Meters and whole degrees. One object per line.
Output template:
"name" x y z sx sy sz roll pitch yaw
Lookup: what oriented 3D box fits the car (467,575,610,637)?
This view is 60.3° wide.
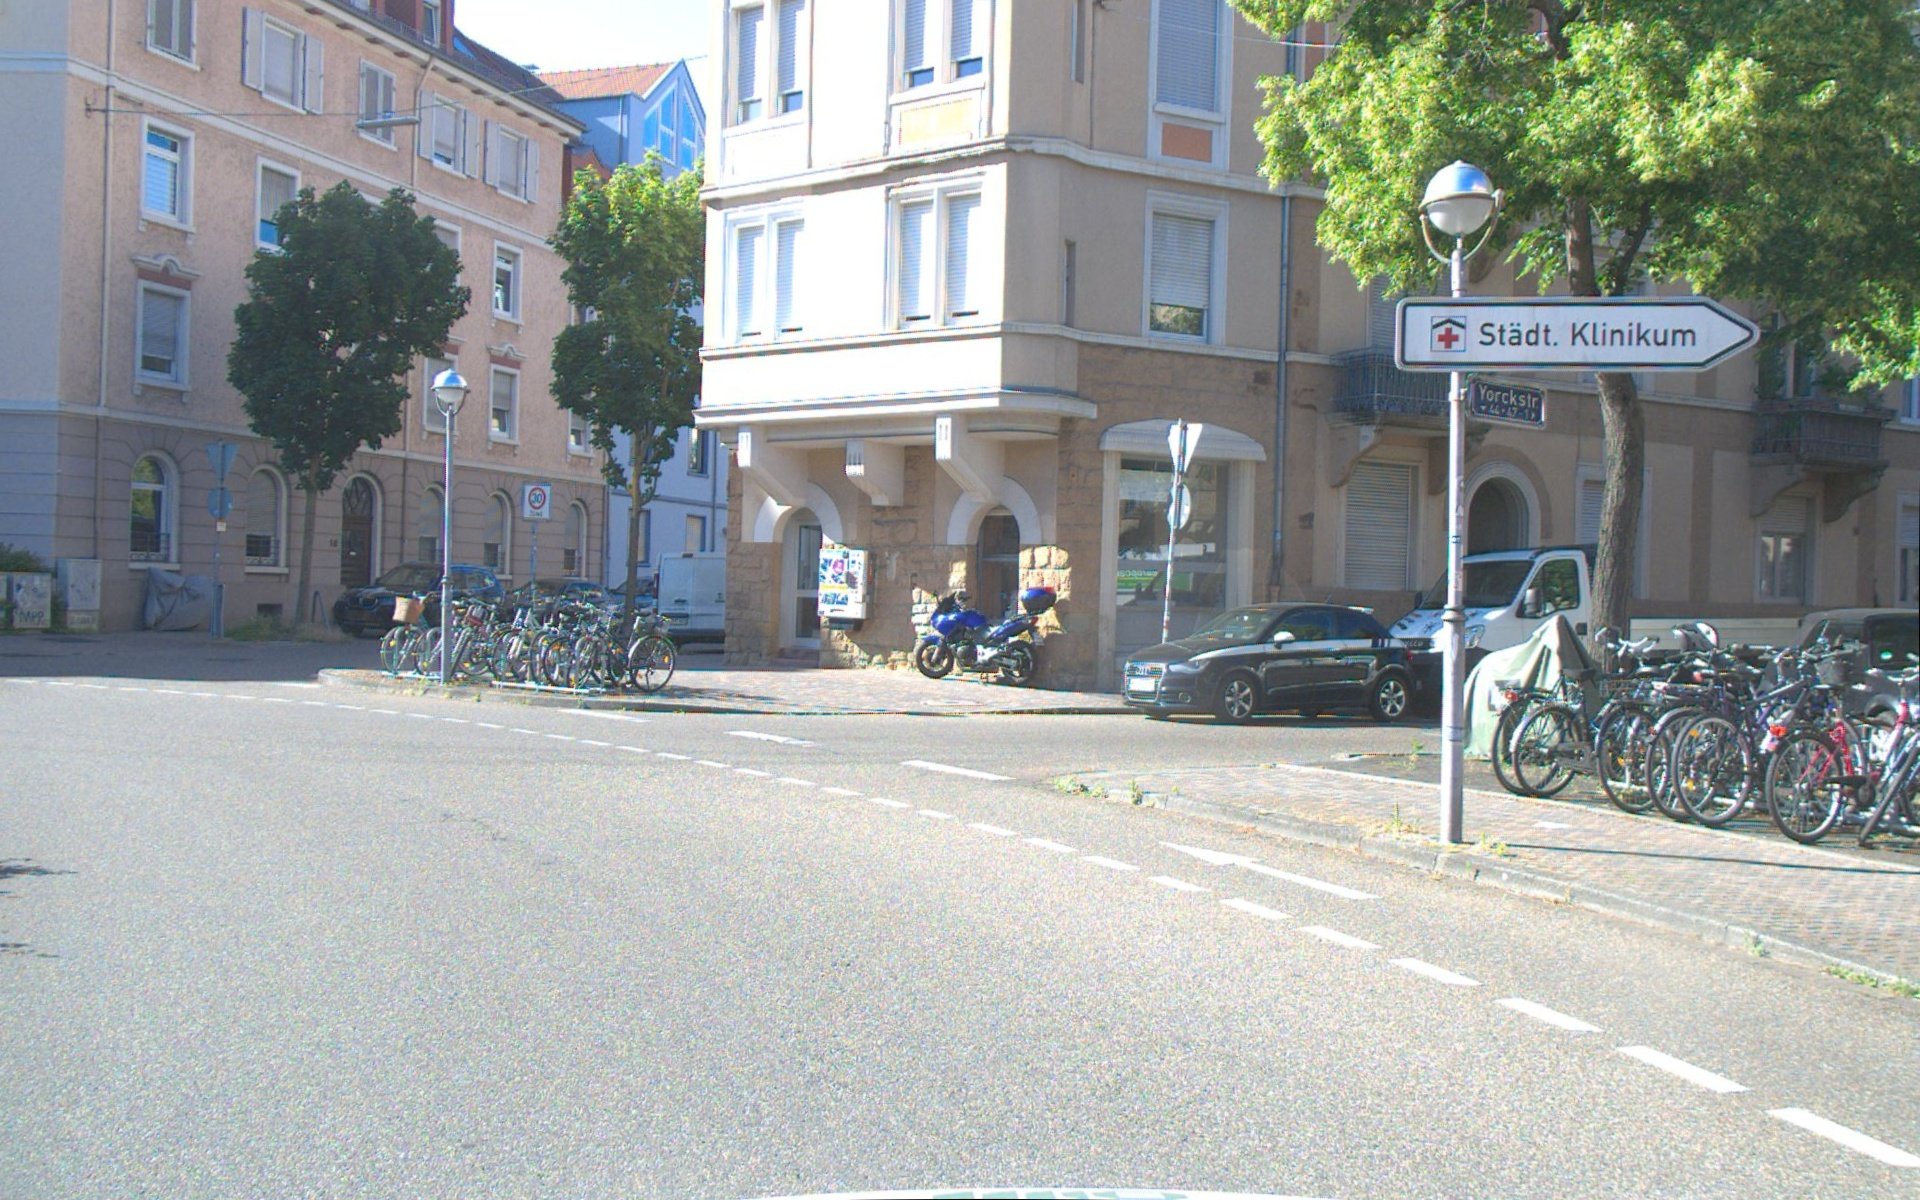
"car" -10.466 0.152 41.349 1.661 1.436 3.663 1 0 20

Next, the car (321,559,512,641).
"car" -12.006 0.012 36.854 1.863 1.670 4.349 1 0 16

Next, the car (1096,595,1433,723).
"car" 3.718 0.687 20.059 3.867 1.414 1.671 1 -1 -30

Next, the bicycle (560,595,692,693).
"bicycle" -4.083 0.525 20.324 0.474 1.143 1.712 1 0 36

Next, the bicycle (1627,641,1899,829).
"bicycle" 5.242 0.844 10.789 1.702 1.107 0.652 0 2 -25

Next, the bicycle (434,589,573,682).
"bicycle" -5.959 0.458 21.661 0.626 1.165 1.686 1 0 42

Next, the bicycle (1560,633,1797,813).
"bicycle" 4.978 0.822 11.447 1.576 1.146 0.585 0 2 -25

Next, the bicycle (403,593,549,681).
"bicycle" -6.428 0.483 22.064 0.526 1.109 1.868 1 0 42

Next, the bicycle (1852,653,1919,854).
"bicycle" 6.044 0.881 9.827 1.547 1.108 0.416 1 2 -23

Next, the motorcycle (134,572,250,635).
"motorcycle" -16.073 0.070 34.677 0.920 1.241 2.154 3 1 20

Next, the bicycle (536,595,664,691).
"bicycle" -4.455 0.516 20.568 0.473 1.143 1.691 1 0 34

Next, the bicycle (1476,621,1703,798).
"bicycle" 4.631 0.772 12.145 1.653 1.213 0.534 0 2 -25

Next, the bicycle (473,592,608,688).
"bicycle" -5.318 0.489 21.065 0.604 1.165 1.691 1 0 34

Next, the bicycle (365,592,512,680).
"bicycle" -7.059 0.486 22.451 0.685 1.149 1.860 0 -1 36

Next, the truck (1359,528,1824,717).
"truck" 8.784 0.334 22.825 6.516 2.332 2.122 1 -1 -26

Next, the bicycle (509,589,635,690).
"bicycle" -4.854 0.476 20.778 0.442 1.212 1.691 1 0 34

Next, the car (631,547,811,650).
"car" -4.845 -0.022 34.316 2.089 1.942 4.565 1 0 14

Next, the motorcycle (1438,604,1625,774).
"motorcycle" 4.820 0.714 14.075 0.528 1.292 1.702 1 2 -20

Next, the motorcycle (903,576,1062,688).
"motorcycle" 0.303 0.428 23.632 2.205 1.435 0.698 4 2 34

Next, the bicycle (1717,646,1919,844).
"bicycle" 5.467 0.858 10.176 1.622 1.121 0.497 1 1 -24

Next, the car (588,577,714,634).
"car" -8.698 0.169 46.873 1.661 1.512 4.003 1 0 20
